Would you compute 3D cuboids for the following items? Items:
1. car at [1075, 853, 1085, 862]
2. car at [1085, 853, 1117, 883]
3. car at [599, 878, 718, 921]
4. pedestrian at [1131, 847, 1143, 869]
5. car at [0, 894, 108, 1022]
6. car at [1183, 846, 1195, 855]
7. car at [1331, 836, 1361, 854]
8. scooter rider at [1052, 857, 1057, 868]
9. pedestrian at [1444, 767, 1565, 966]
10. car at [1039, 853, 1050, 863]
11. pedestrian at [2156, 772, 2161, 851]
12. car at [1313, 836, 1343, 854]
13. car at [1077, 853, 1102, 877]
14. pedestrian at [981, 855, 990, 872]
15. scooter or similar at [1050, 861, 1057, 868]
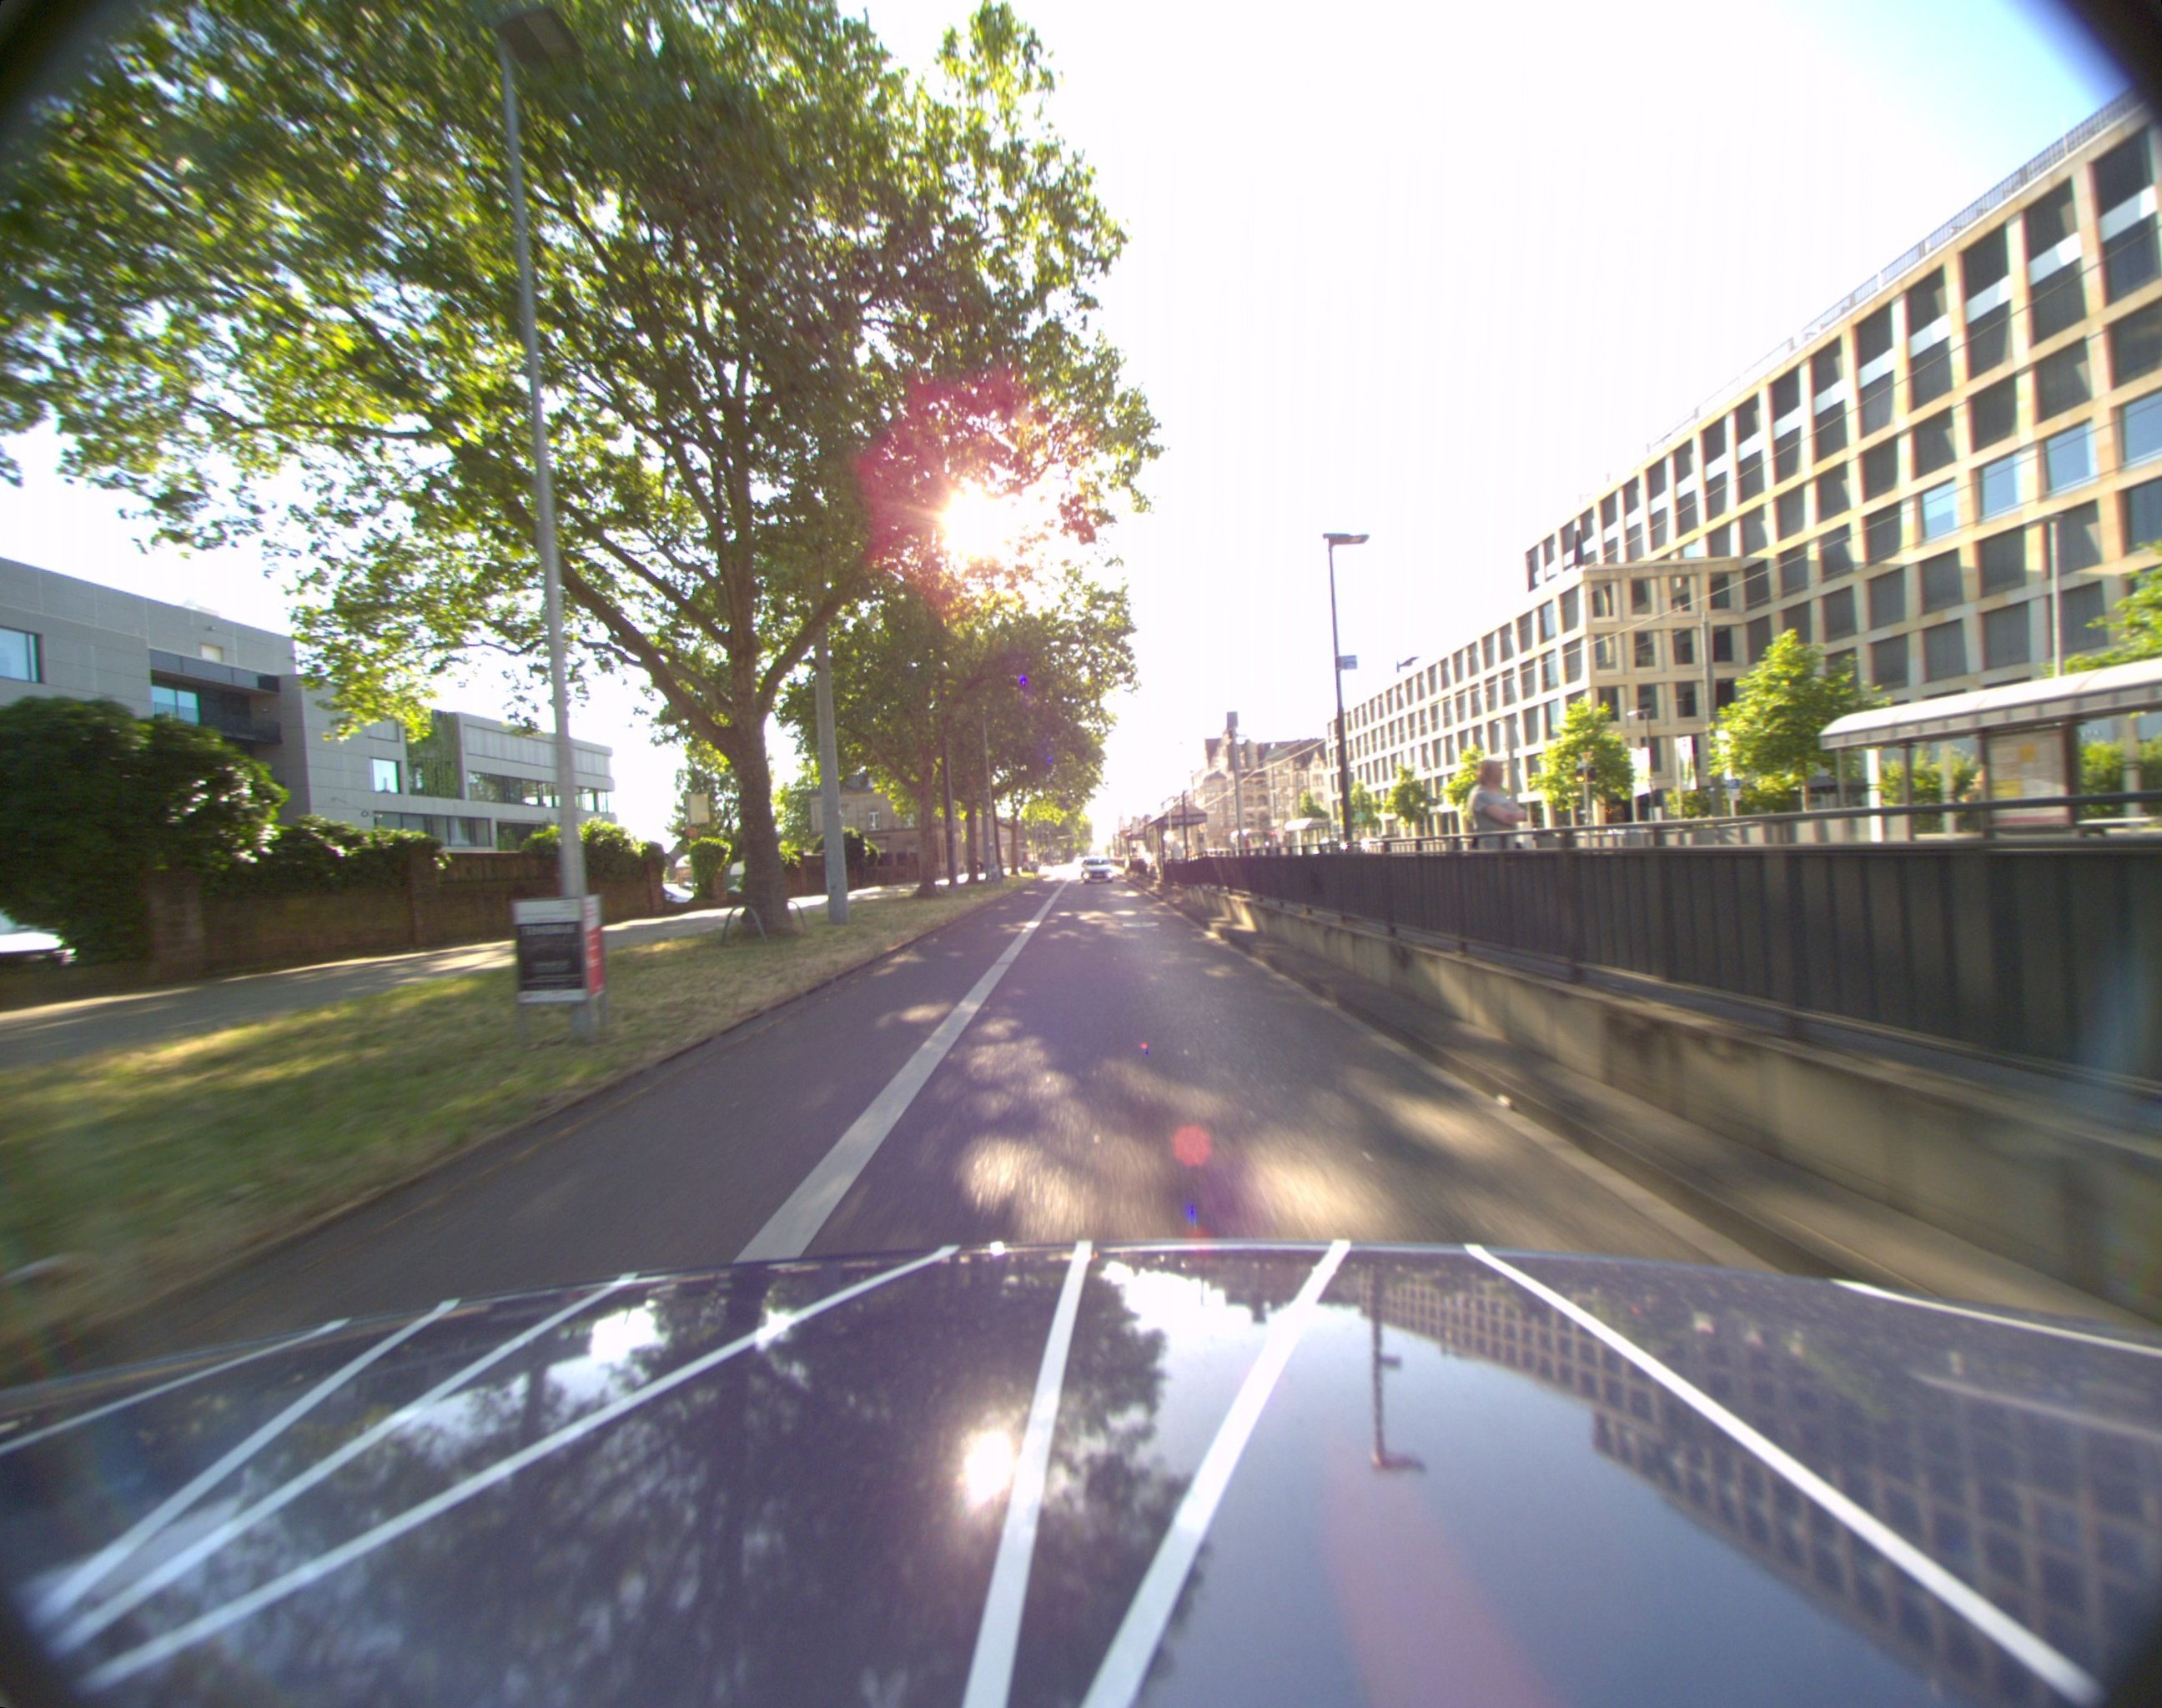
[{"bbox_3d":[-0.138,0.724,151.676,1.833,1.645,4.000,-5,1,1],"label":"car"},{"bbox_3d":[1.120,0.802,44.347,1.649,1.555,3.666,-4,0,0],"label":"car"},{"bbox_3d":[-18.953,2.022,34.254,4.117,1.512,2.040,-4,0,-8],"label":"car"},{"bbox_3d":[3.946,0.272,53.713,0.747,1.500,0.666,-3,0,3],"label":"pedestrian"},{"bbox_3d":[-19.973,1.905,12.470,5.276,1.970,2.000,-5,1,0],"label":"car"},{"bbox_3d":[23.431,-0.727,164.670,1.780,1.660,3.999,-4,0,-1],"label":"car"},{"bbox_3d":[26.132,-0.875,75.124,1.649,1.552,3.650,-4,0,1],"label":"car"},{"bbox_3d":[-3.738,1.185,107.041,0.703,1.388,0.600,-4,1,1],"label":"scooter rider"},{"bbox_3d":[3.508,0.102,6.353,0.615,1.540,0.725,-4,1,11],"label":"pedestrian"},{"bbox_3d":[-7.970,0.885,166.594,1.833,2.034,4.000,-4,1,4],"label":"car"},{"bbox_3d":[17.357,-0.687,11.668,0.616,1.252,0.724,-4,1,5],"label":"pedestrian"},{"bbox_3d":[26.329,-0.977,81.097,1.923,1.759,4.000,-4,0,1],"label":"car"},{"bbox_3d":[0.633,0.784,56.463,1.649,1.555,3.666,-5,0,1],"label":"car"},{"bbox_3d":[-9.393,0.930,74.765,0.771,1.734,0.796,-2,1,-6],"label":"pedestrian"},{"bbox_3d":[-3.887,1.483,106.958,1.023,0.806,0.265,-4,1,0],"label":"scooter or similar"}]
